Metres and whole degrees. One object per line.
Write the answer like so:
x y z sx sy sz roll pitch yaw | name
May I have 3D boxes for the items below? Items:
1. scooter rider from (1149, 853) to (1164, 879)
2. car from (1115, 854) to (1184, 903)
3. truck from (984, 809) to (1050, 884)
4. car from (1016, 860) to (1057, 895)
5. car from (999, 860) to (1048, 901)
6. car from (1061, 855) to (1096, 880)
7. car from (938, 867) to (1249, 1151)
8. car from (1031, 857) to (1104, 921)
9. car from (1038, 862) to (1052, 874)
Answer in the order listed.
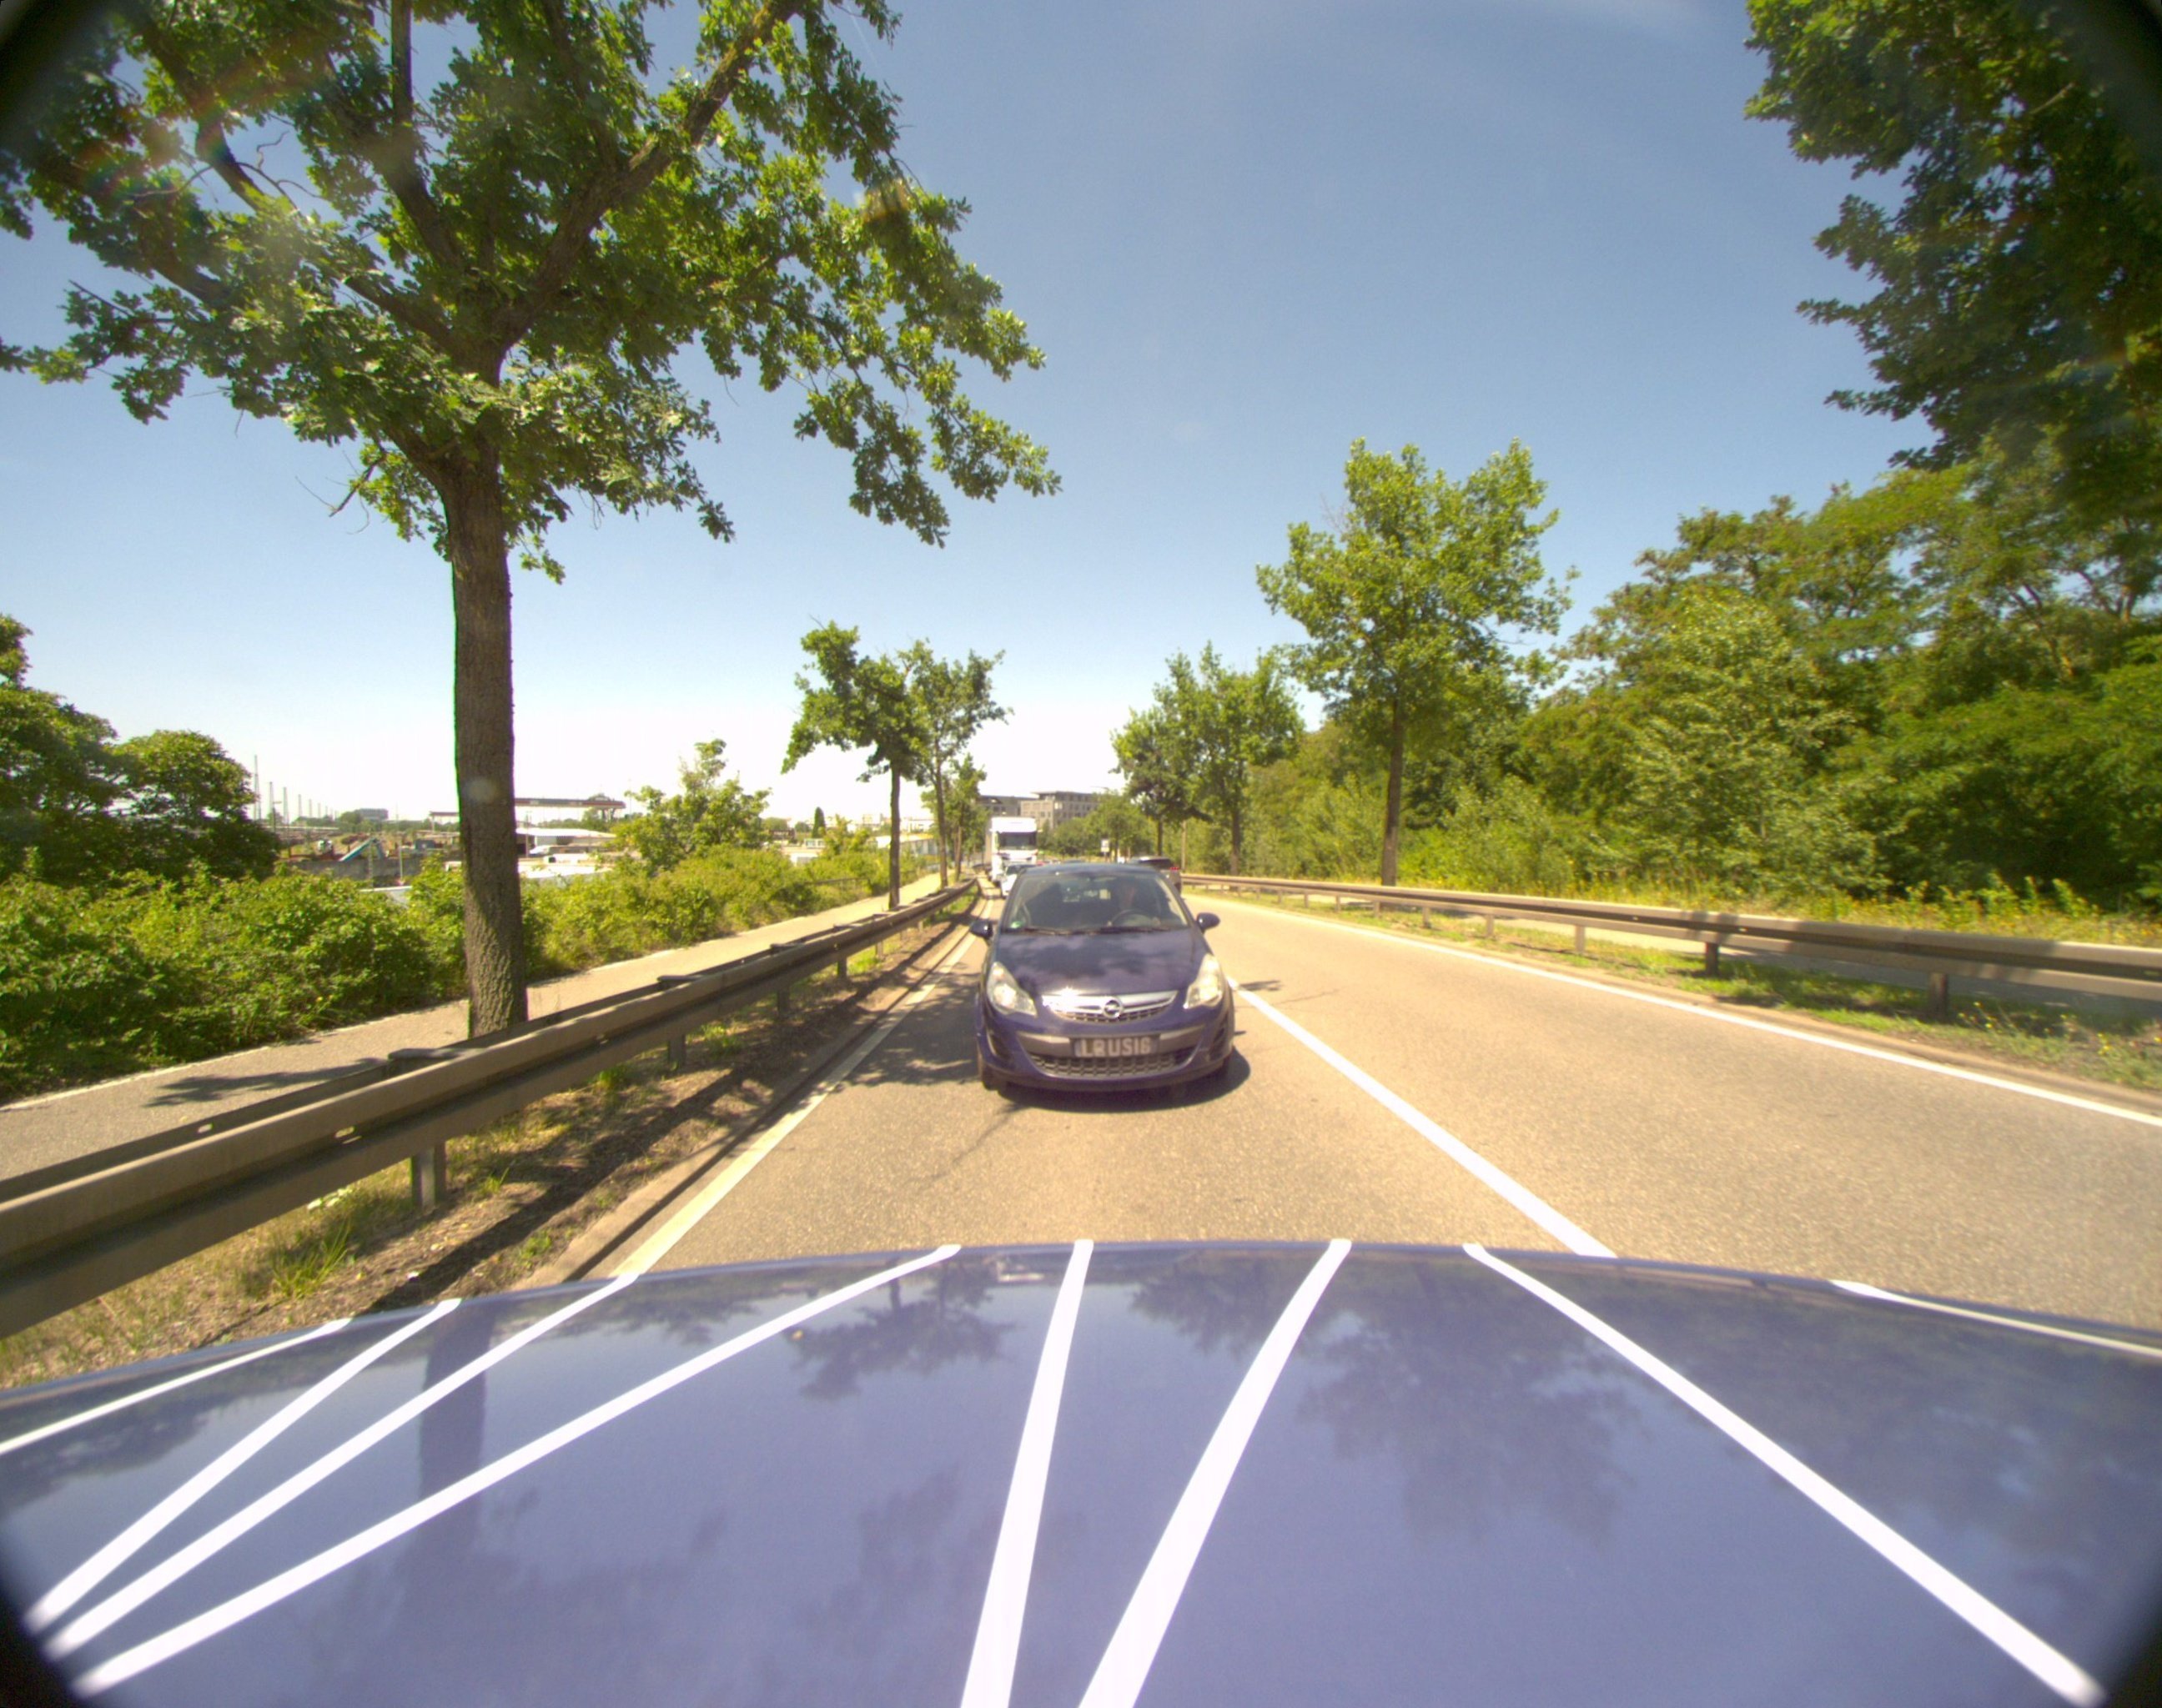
4.921 0.796 49.451 0.779 1.648 1.120 -2 1 -4 | scooter rider
2.388 0.816 27.588 1.755 1.546 4.124 -2 0 -5 | car
-4.639 -0.441 50.922 3.073 4.146 16.897 -2 0 -9 | truck
-2.305 1.128 38.204 1.781 1.569 3.997 -2 0 -6 | car
-2.295 1.006 30.331 1.781 1.398 3.998 -2 0 -4 | car
-0.208 0.901 51.420 1.875 1.594 4.390 -2 0 -7 | car
-0.012 0.906 6.235 1.720 1.455 3.836 -2 0 -3 | car
-0.463 0.889 20.935 1.781 1.498 3.894 -2 0 -4 | car
-6.590 2.498 139.298 1.779 2.002 4.002 -2 1 9 | car
